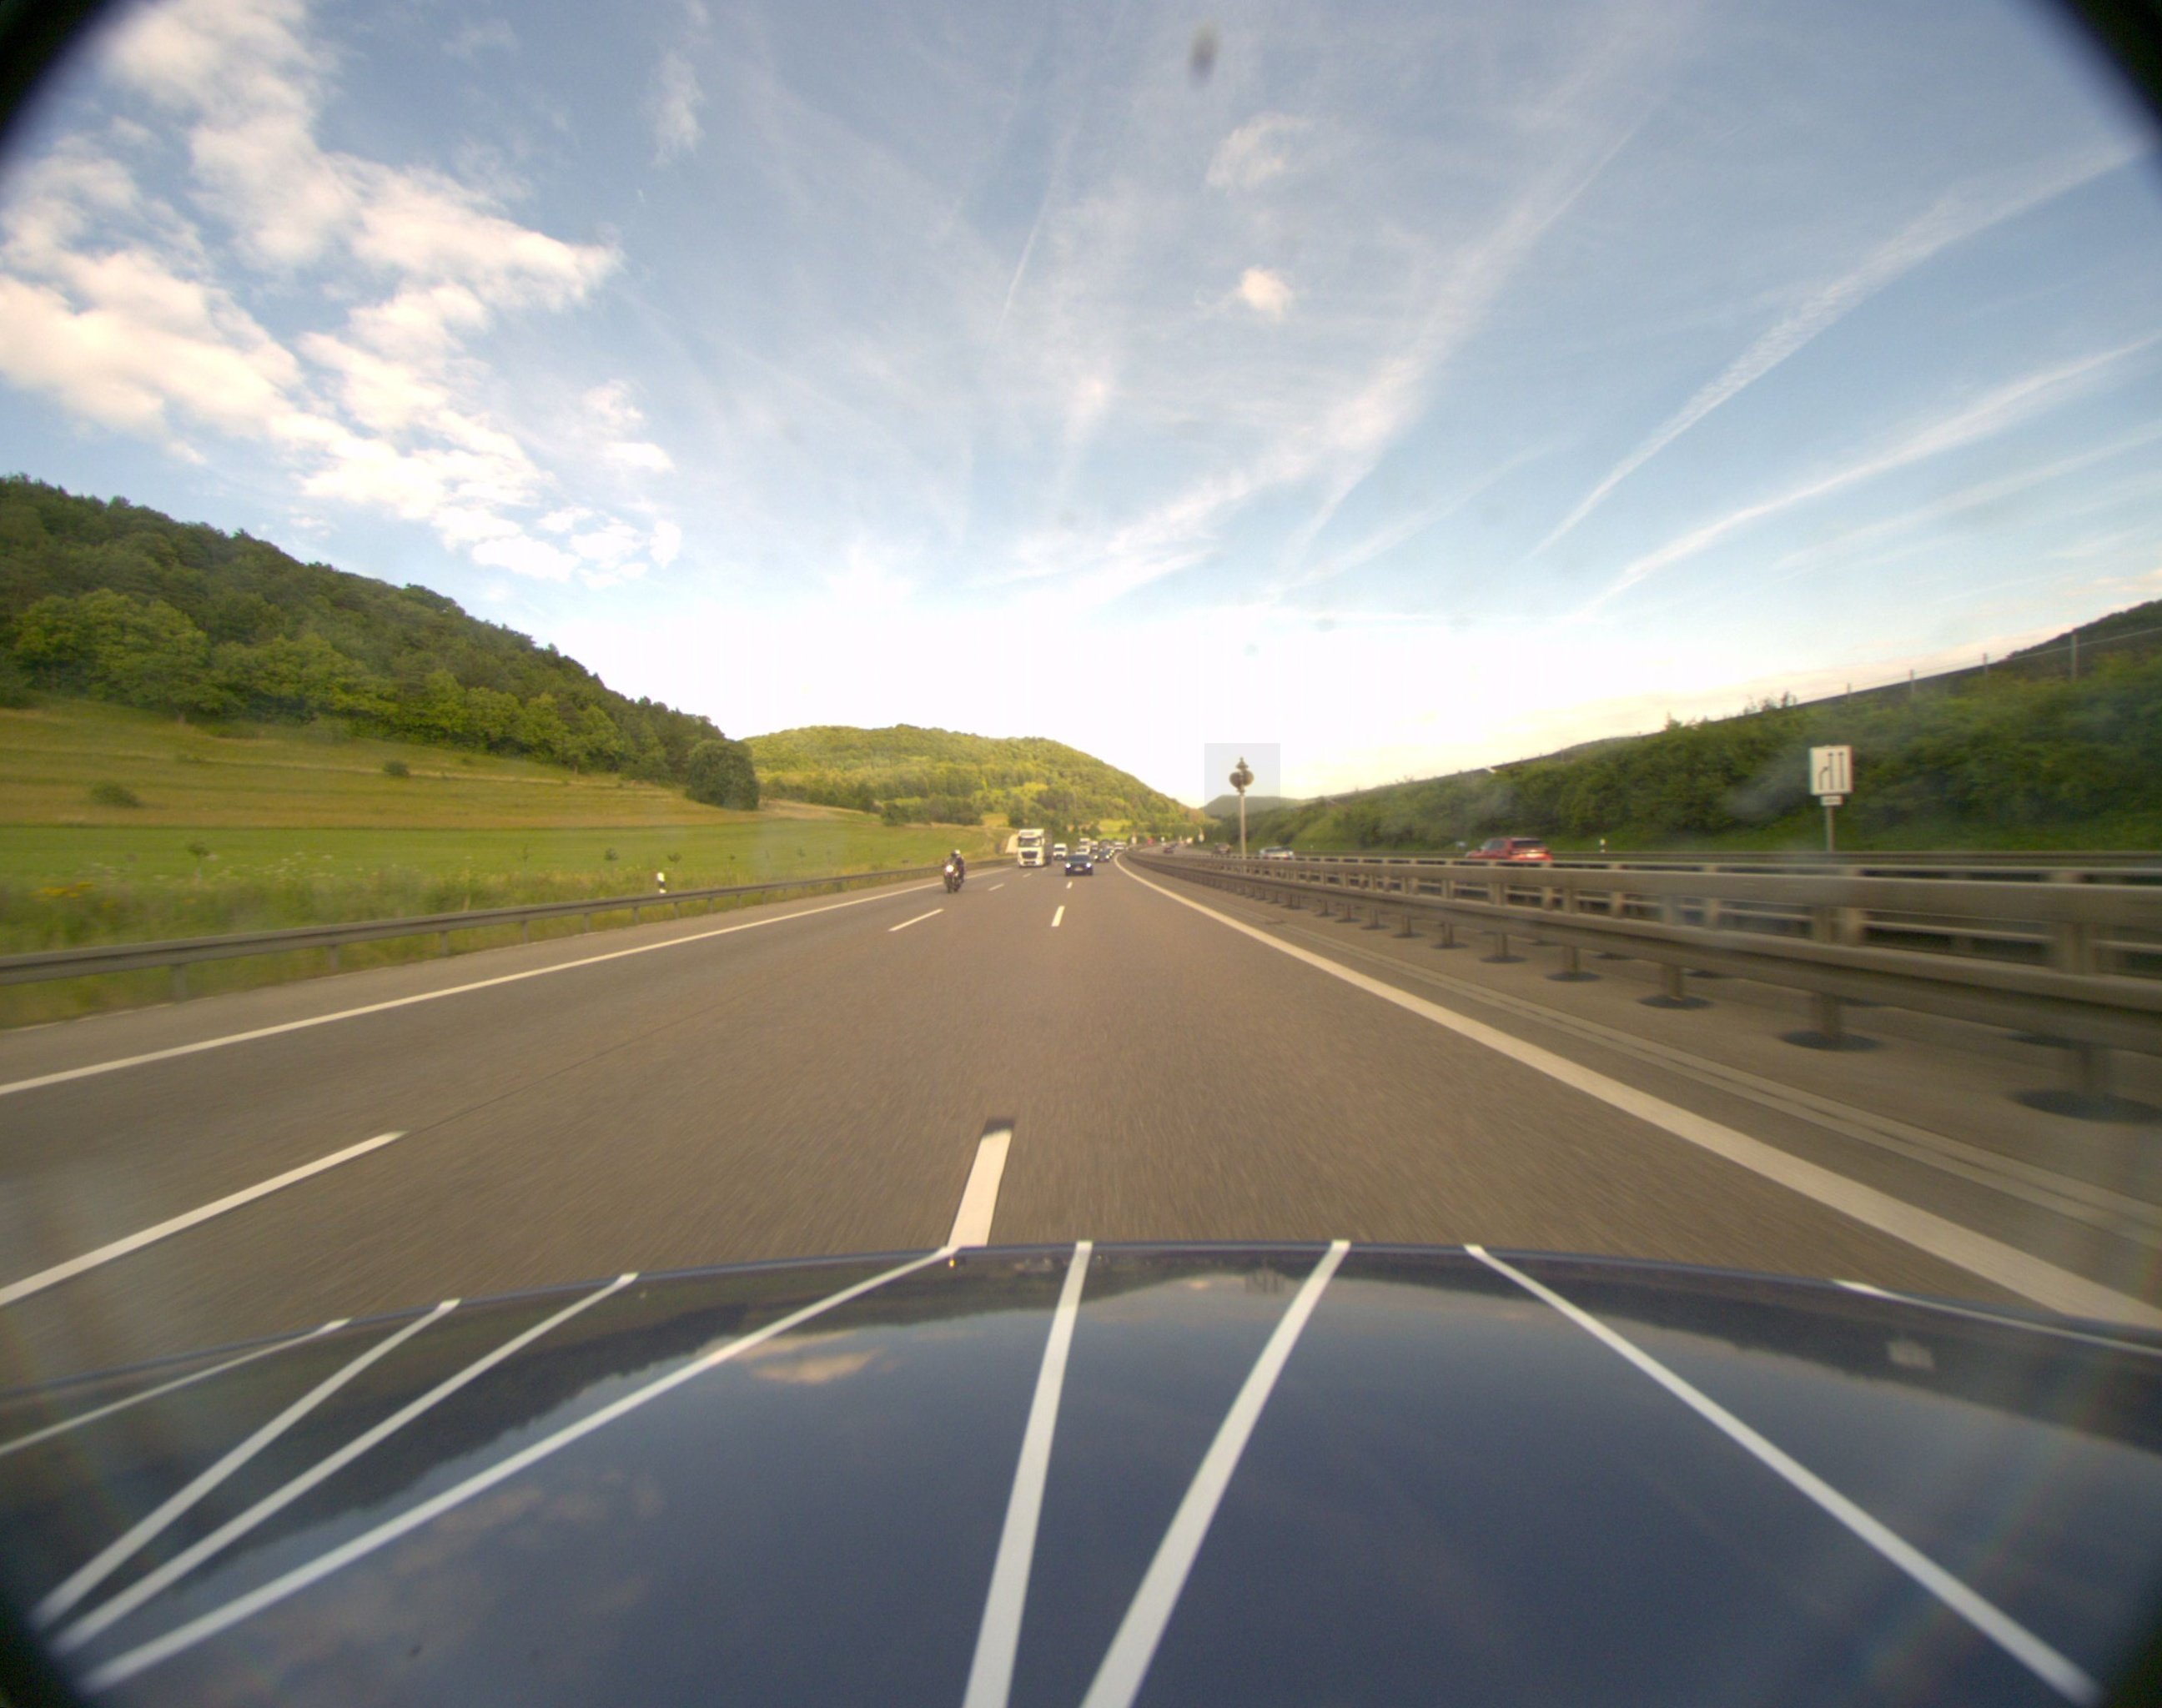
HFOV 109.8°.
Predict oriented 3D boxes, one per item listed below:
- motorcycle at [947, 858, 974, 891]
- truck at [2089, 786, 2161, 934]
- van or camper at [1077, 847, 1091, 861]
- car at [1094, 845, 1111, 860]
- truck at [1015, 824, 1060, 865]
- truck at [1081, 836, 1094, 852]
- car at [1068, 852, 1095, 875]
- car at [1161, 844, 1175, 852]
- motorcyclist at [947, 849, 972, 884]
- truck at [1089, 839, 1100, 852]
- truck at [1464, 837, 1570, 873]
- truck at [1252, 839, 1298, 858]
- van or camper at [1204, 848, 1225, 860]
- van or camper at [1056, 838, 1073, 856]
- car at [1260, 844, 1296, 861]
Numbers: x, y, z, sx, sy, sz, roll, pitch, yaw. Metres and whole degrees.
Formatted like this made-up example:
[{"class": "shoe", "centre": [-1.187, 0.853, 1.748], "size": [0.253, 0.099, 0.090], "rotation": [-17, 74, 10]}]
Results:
[{"class": "motorcycle", "centre": [-5.236, 0.874, 33.055], "size": [0.628, 1.331, 1.740], "rotation": [-1, 1, 8]}, {"class": "truck", "centre": [12.716, 0.072, 6.370], "size": [1.999, 1.585, 4.845], "rotation": [0, 0, -3]}, {"class": "van or camper", "centre": [0.462, -0.016, 114.019], "size": [1.998, 1.881, 4.487], "rotation": [-2, 1, 2]}, {"class": "car", "centre": [2.692, -0.188, 95.463], "size": [1.998, 1.871, 4.000], "rotation": [-1, 0, 2]}, {"class": "truck", "centre": [-4.548, -1.100, 84.150], "size": [2.971, 3.969, 17.732], "rotation": [-2, 1, 3]}, {"class": "truck", "centre": [1.506, -2.535, 194.828], "size": [2.925, 3.876, 13.005], "rotation": [-2, 1, -1]}, {"class": "car", "centre": [0.086, 0.607, 50.364], "size": [1.580, 1.310, 4.000], "rotation": [-2, 1, 2]}, {"class": "car", "centre": [17.039, -1.244, 148.838], "size": [1.999, 1.422, 4.586], "rotation": [-2, 1, -1]}, {"class": "motorcyclist", "centre": [-5.313, 0.541, 33.259], "size": [0.879, 1.506, 0.797], "rotation": [-2, 2, 3]}, {"class": "truck", "centre": [4.054, -2.498, 226.544], "size": [2.708, 3.627, 9.034], "rotation": [-2, 1, 4]}, {"class": "truck", "centre": [17.520, 0.033, 30.758], "size": [1.999, 1.345, 3.946], "rotation": [-1, 0, 0]}, {"class": "truck", "centre": [13.048, -0.386, 51.393], "size": [1.999, 1.215, 3.999], "rotation": [0, 0, -2]}, {"class": "van or camper", "centre": [18.795, -0.050, 107.296], "size": [1.999, 1.650, 5.453], "rotation": [-1, 0, -1]}, {"class": "van or camper", "centre": [-2.619, -1.095, 121.659], "size": [1.998, 2.702, 7.524], "rotation": [-1, 1, 4]}, {"class": "car", "centre": [17.099, -0.130, 66.065], "size": [1.999, 1.345, 4.355], "rotation": [-1, 0, 0]}]
